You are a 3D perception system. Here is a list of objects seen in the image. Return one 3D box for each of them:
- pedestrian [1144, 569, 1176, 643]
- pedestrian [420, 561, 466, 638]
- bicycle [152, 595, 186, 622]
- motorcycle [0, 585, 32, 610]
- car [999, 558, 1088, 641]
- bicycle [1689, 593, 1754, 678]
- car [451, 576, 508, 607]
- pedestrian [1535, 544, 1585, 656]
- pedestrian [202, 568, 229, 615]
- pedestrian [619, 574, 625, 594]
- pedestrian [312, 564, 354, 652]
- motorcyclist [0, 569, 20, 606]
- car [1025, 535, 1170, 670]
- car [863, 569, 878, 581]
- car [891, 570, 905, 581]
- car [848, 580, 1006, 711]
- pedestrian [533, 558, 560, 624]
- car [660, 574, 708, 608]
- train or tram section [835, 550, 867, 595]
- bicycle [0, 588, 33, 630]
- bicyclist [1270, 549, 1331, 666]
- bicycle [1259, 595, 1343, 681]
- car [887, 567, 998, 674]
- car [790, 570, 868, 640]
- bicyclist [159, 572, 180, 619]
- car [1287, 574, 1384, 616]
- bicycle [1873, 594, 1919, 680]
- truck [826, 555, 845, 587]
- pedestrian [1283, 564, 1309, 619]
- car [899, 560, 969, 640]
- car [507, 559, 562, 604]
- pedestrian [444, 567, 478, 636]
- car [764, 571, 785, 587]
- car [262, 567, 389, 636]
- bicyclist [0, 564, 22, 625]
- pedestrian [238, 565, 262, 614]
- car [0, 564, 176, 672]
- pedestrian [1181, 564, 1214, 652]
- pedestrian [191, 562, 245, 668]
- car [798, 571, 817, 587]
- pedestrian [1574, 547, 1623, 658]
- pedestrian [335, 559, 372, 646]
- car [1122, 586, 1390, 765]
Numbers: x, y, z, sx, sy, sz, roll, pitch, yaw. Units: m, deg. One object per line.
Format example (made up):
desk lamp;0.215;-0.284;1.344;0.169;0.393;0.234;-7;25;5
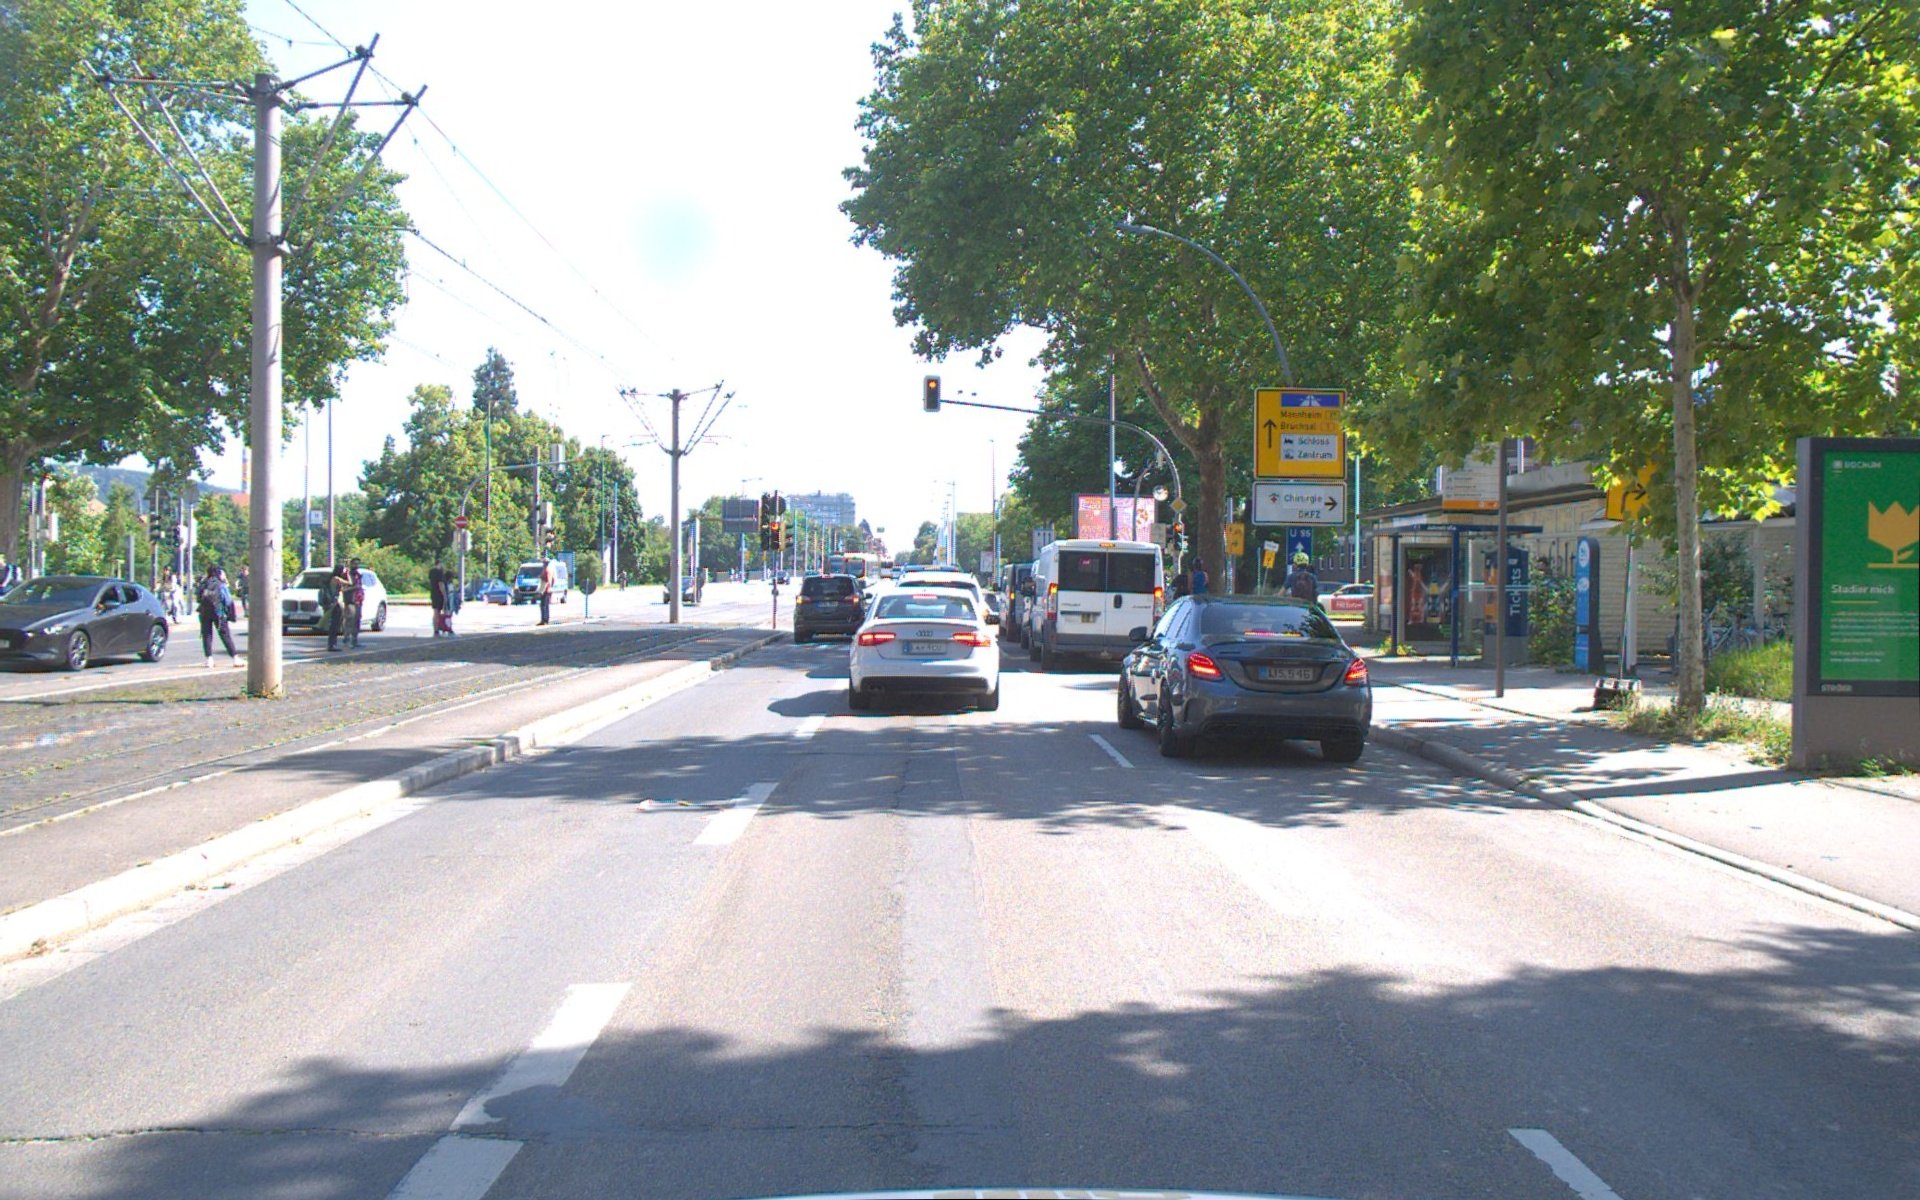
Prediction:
pedestrian;4.761;0.130;39.419;0.590;1.724;0.953;-2;0;-1
pedestrian;-12.136;-0.015;38.819;0.758;1.764;0.755;1;0;7
bicycle;-22.923;0.250;47.942;0.412;0.761;1.146;1;1;-1
motorcycle;-35.004;-0.102;60.607;1.610;0.906;0.650;1;0;-1
car;2.123;-0.038;43.215;2.030;2.034;4.057;1;1;-1
bicycle;11.164;0.503;24.261;0.381;1.201;1.173;1;0;-1
car;-24.478;-0.459;84.445;1.792;1.546;3.945;1;1;-1
pedestrian;10.507;-0.003;28.981;0.601;1.929;0.694;0;0;-4
pedestrian;-24.779;-0.283;55.057;0.610;1.569;0.644;1;0;-2
pedestrian;-26.965;-1.302;131.992;0.412;1.576;0.552;1;0;-1
pedestrian;-12.068;0.143;31.865;0.581;1.675;0.554;1;0;-1
motorcyclist;-35.008;-0.459;60.611;0.737;1.337;0.604;1;0;-1
car;2.400;0.016;29.955;2.185;2.250;4.161;1;1;-1
car;-13.237;-3.677;244.122;1.832;1.637;4.001;1;1;1
car;-9.198;-3.608;244.301;1.832;1.637;4.001;1;1;1
car;-0.401;0.485;20.413;1.748;1.445;3.884;1;1;-1
pedestrian;-12.245;-0.272;49.036;0.611;1.951;0.689;1;0;-1
car;-14.674;-0.507;88.101;1.953;1.764;4.000;1;1;-1
train or tram section;-10.342;-2.598;157.547;2.563;4.085;7.748;1;1;-1
bicycle;-22.677;0.214;39.216;0.474;0.978;1.654;1;1;-1
bicyclist;5.031;0.100;24.495;0.621;1.677;0.979;-2;1;-2
bicycle;5.046;0.534;24.617;0.700;1.168;2.177;-2;1;-2
car;-0.306;0.297;27.611;1.694;1.633;3.884;1;1;-1
car;-3.276;0.092;41.989;1.694;1.659;3.999;1;1;-1
bicyclist;-22.914;-0.134;47.969;0.377;1.334;0.466;1;0;-1
car;15.907;-0.237;70.148;3.700;1.701;1.793;1;1;0
bicycle;13.564;0.516;23.609;0.381;1.201;1.173;1;0;-1
truck;-13.562;-3.157;180.875;1.954;3.383;6.017;0;1;-3
pedestrian;11.086;-0.283;54.549;0.761;1.819;0.764;1;0;5
car;-0.670;-0.024;42.256;1.694;1.935;3.999;1;1;-1
car;-23.709;-1.032;92.244;2.071;2.424;4.000;0;1;-1
pedestrian;-11.936;0.039;39.596;0.526;1.626;0.578;1;0;18
car;-20.116;-2.285;179.637;1.954;1.670;3.998;1;1;-3
car;-15.924;0.008;41.697;1.728;1.637;3.860;1;1;-1
bicyclist;-22.686;-0.136;39.276;0.470;1.441;0.592;1;0;-2
pedestrian;-23.090;-0.338;53.764;0.616;1.569;0.774;0;0;-30
car;-14.666;0.242;27.020;1.833;1.637;4.000;1;1;-1
pedestrian;5.457;0.176;38.031;0.622;1.980;0.719;1;0;-1
pedestrian;-11.767;0.227;26.235;0.748;1.651;0.590;1;0;-27
car;-16.929;-2.314;184.001;1.954;1.670;3.998;1;1;-3
pedestrian;11.204;0.042;29.039;0.601;1.929;0.597;0;0;-4
pedestrian;-12.069;0.043;32.920;0.482;1.708;0.643;1;0;-1
car;2.649;0.607;15.692;1.746;1.445;3.999;1;1;-1
